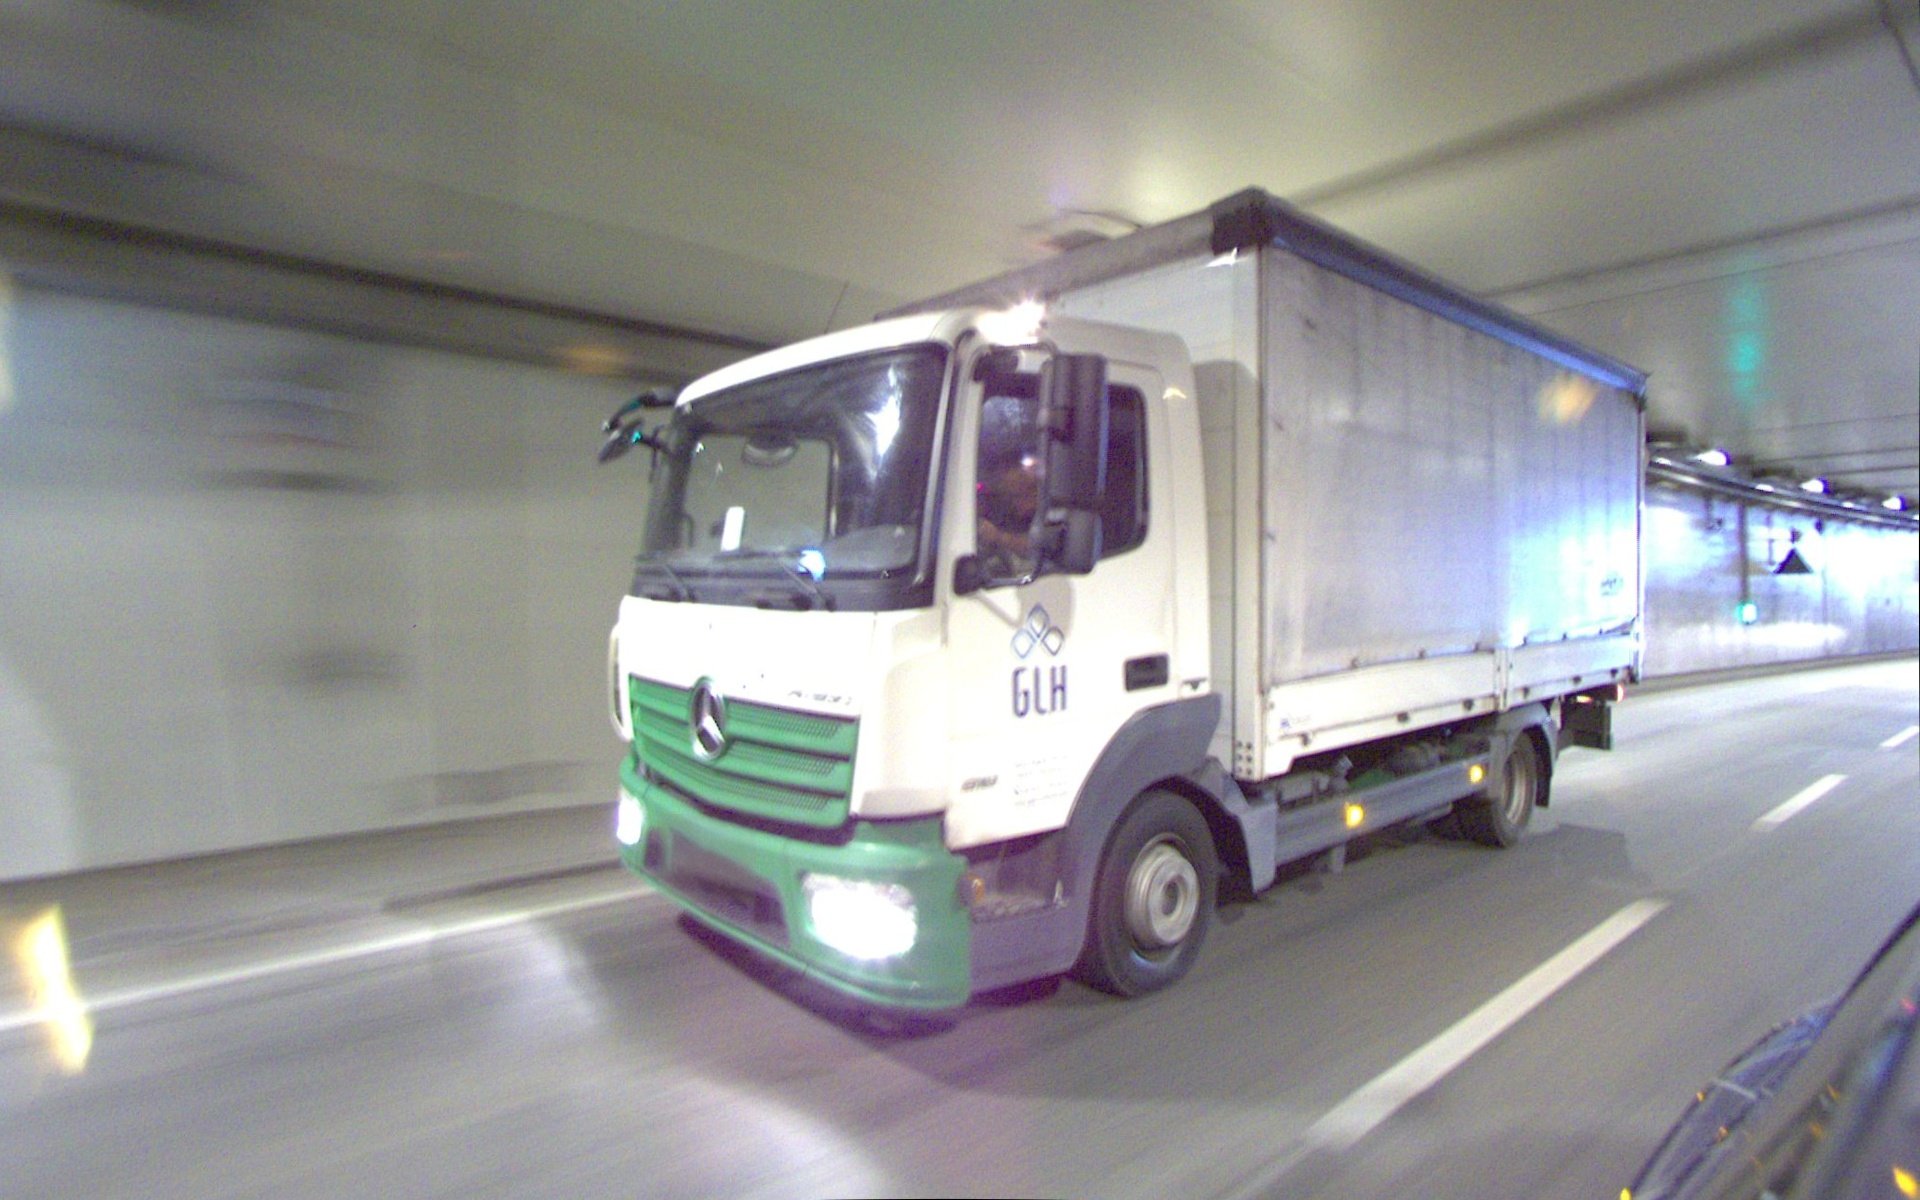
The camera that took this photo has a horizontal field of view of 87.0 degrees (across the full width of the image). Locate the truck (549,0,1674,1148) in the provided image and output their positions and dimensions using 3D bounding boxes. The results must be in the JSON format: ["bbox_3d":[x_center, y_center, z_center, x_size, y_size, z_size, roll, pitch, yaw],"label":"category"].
[{"bbox_3d":[1.663,-0.169,5.949,7.119,3.222,2.557,1,-1,-41],"label":"truck"}]
